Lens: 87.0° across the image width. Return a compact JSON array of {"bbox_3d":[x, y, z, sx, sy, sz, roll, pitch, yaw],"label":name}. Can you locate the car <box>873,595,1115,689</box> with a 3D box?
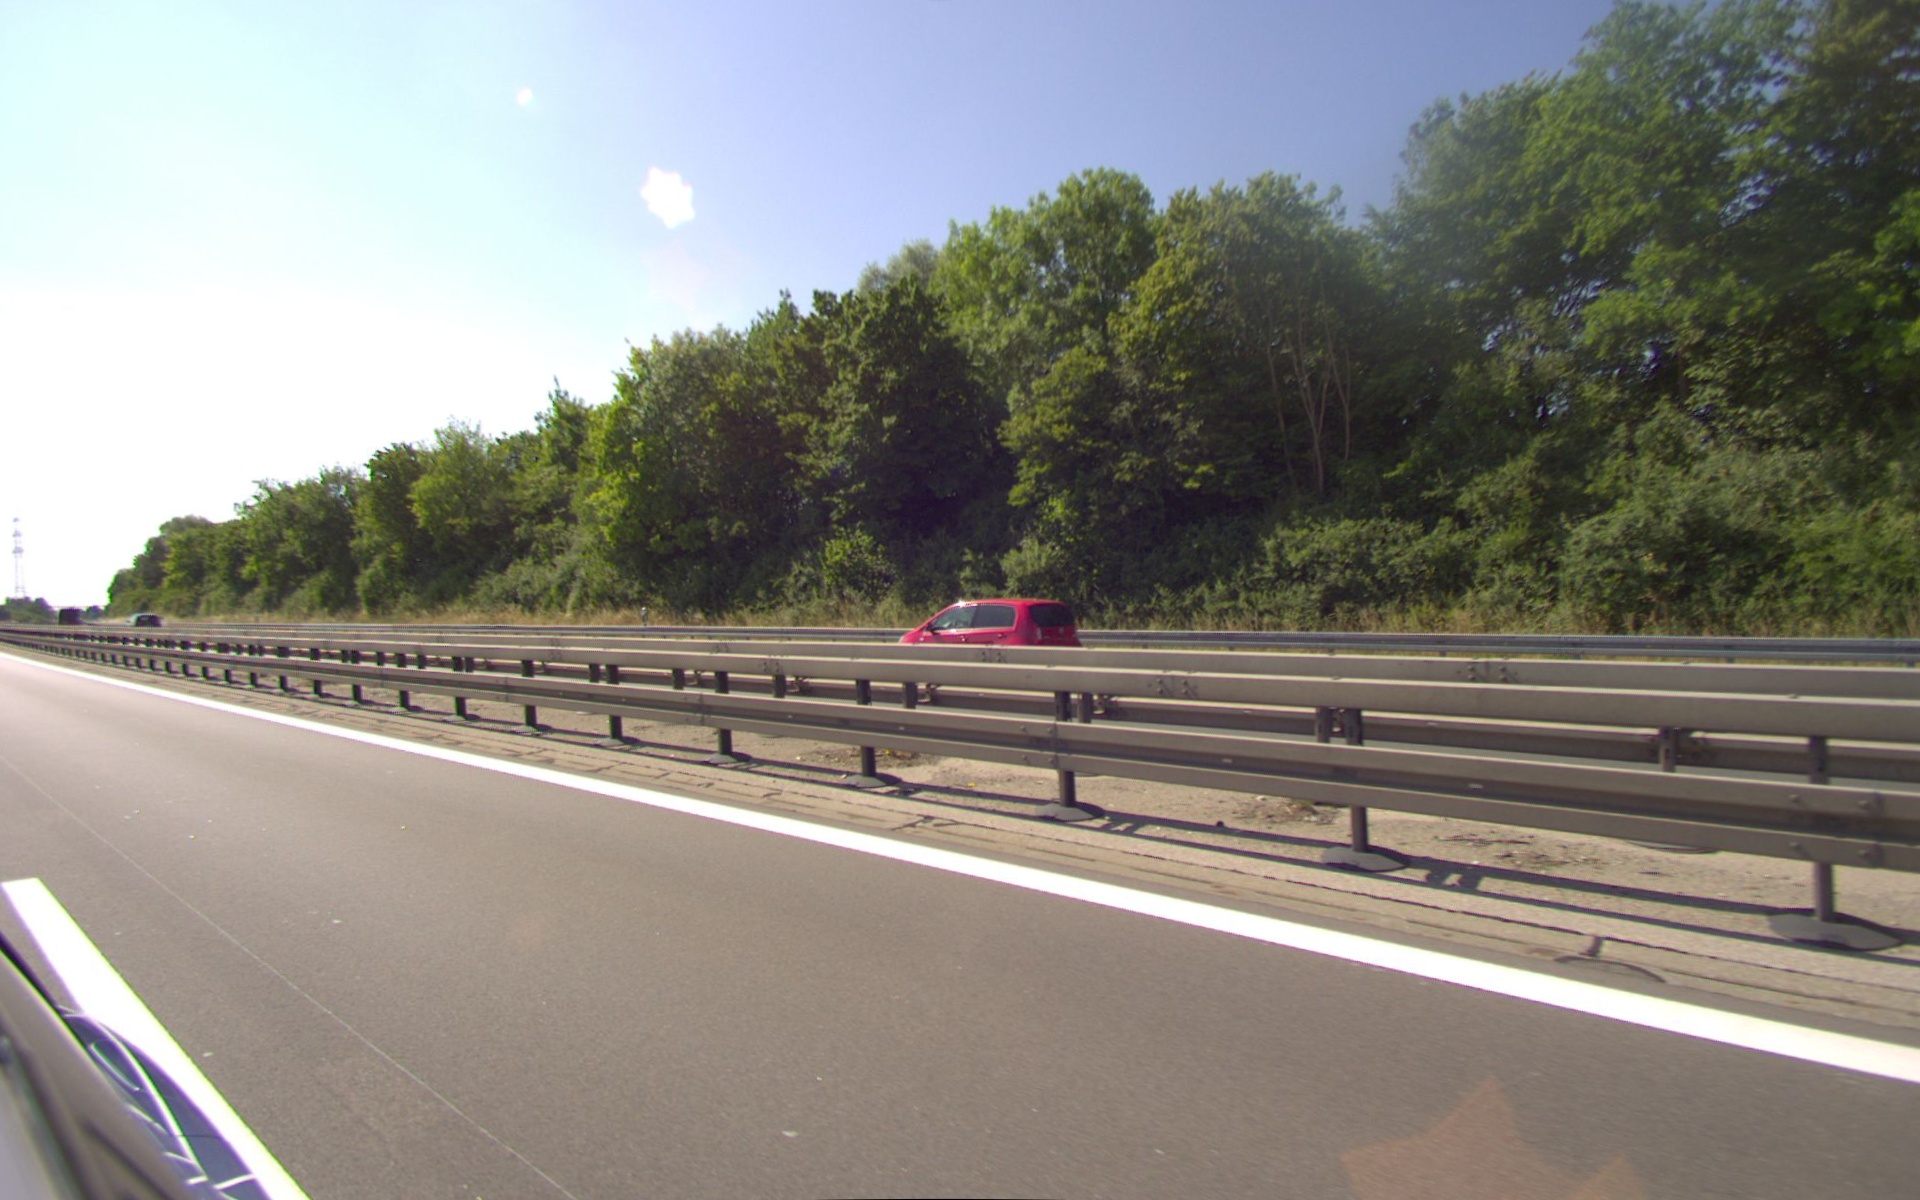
[{"bbox_3d":[0.505,0.692,17.826,4.140,1.448,1.655,-1,0,41],"label":"car"}]

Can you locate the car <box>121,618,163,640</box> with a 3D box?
[{"bbox_3d":[-63.067,2.225,77.967,4.848,1.567,1.791,-2,0,43],"label":"car"}]

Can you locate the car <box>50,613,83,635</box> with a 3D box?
[{"bbox_3d":[-111.497,2.982,126.291,6.594,2.614,2.516,-2,0,44],"label":"car"}]
